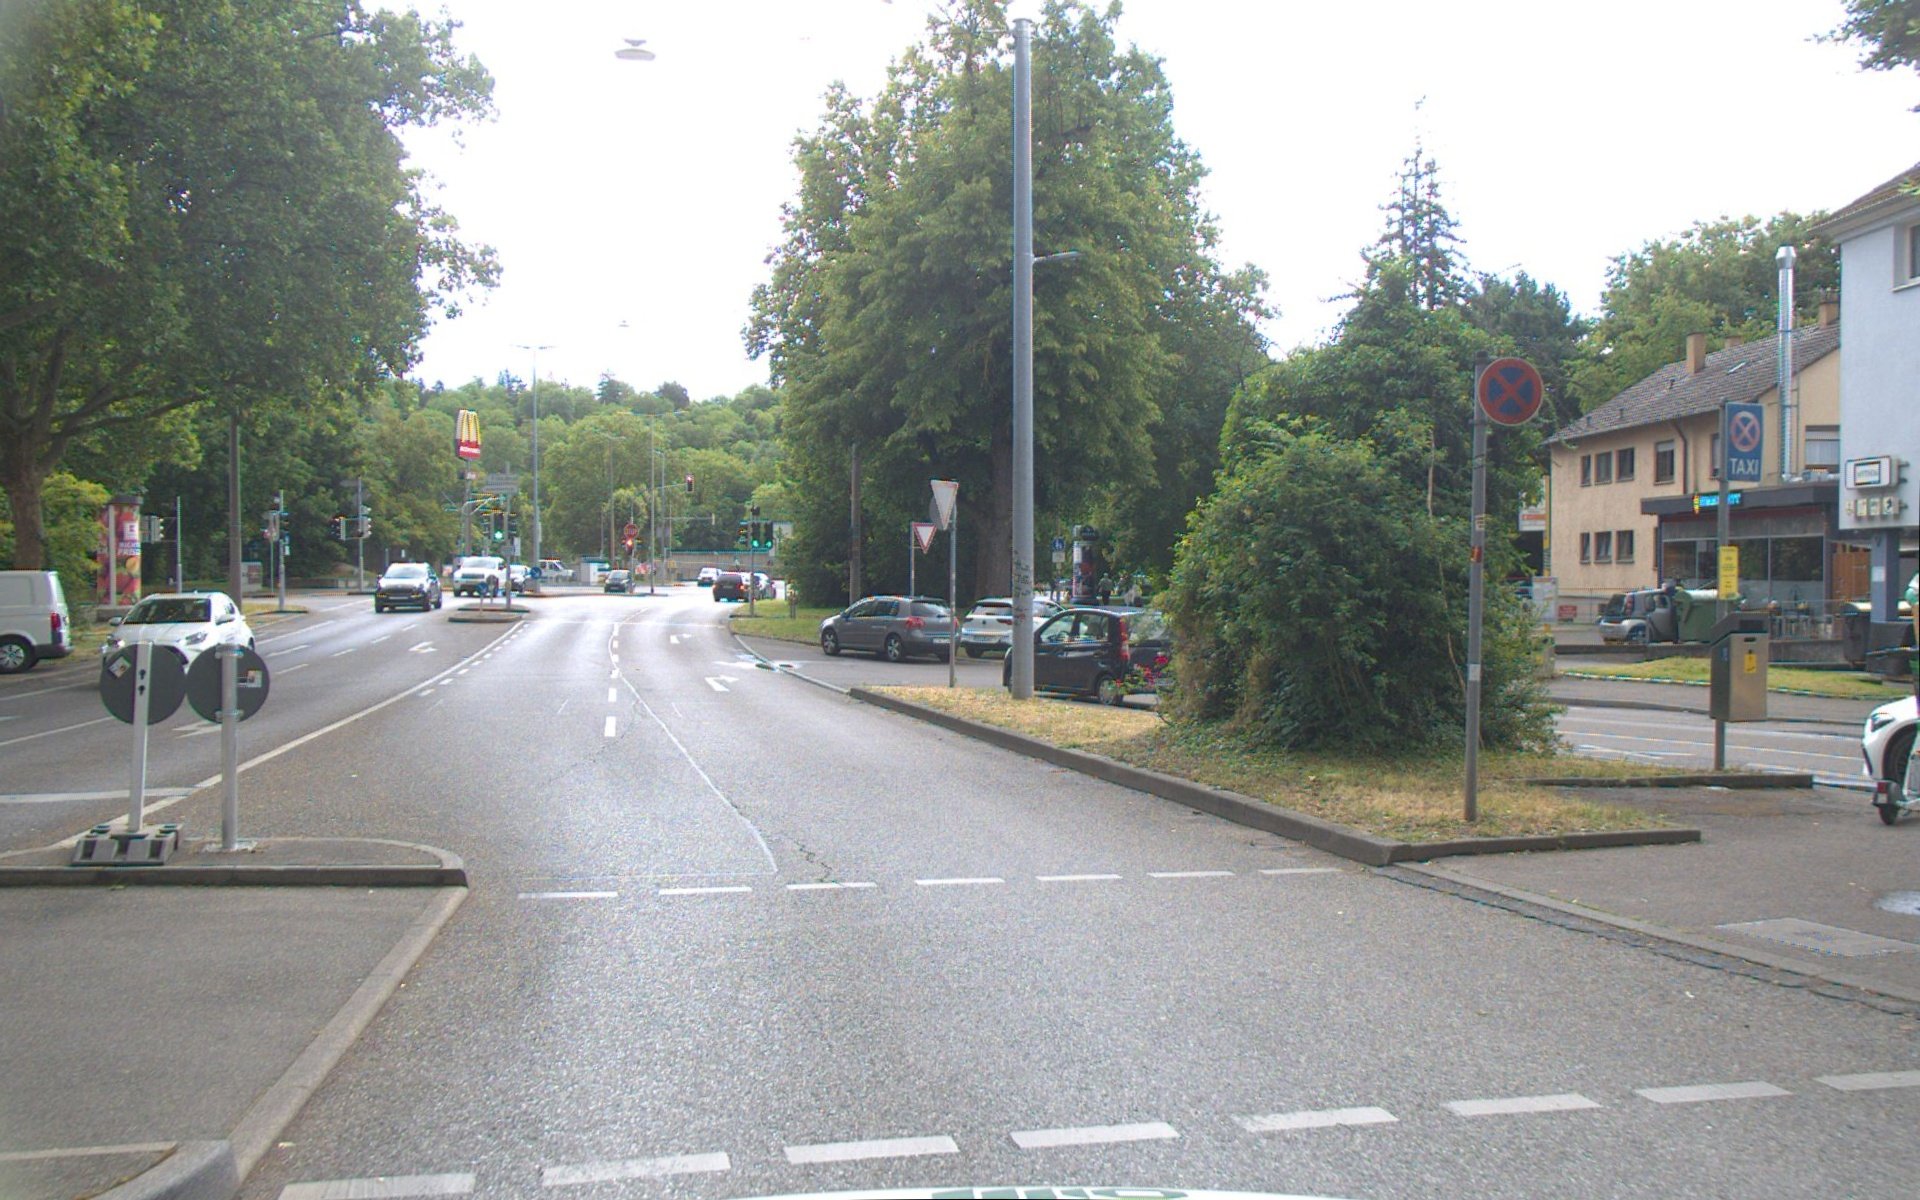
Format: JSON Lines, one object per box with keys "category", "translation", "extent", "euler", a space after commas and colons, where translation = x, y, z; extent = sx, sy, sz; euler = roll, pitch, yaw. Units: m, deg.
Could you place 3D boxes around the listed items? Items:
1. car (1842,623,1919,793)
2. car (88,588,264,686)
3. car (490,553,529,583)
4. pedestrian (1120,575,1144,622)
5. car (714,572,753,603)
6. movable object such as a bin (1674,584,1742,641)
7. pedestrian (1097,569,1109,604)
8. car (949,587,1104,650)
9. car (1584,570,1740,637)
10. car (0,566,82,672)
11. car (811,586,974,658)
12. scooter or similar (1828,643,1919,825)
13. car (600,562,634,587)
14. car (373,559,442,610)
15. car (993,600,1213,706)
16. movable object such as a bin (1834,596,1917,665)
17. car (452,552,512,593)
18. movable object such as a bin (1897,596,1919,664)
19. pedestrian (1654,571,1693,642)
{"category": "car", "translation": [9.867, 0.935, 13.168], "extent": [1.972, 1.411, 4.740], "euler": [-1, 1, -30]}
{"category": "car", "translation": [-13.226, 0.571, 28.143], "extent": [1.731, 1.492, 4.011], "euler": [-1, 1, -11]}
{"category": "car", "translation": [-23.295, -1.694, 85.566], "extent": [1.540, 1.406, 3.942], "euler": [-1, 3, -10]}
{"category": "pedestrian", "translation": [5.848, -0.048, 56.147], "extent": [0.670, 1.578, 0.742], "euler": [0, 1, -7]}
{"category": "car", "translation": [-11.544, -0.636, 84.511], "extent": [1.787, 1.535, 4.569], "euler": [0, 1, -6]}
{"category": "movable object such as a bin", "translation": [18.247, 0.289, 40.366], "extent": [1.193, 1.368, 0.994], "euler": [0, 0, -6]}
{"category": "pedestrian", "translation": [6.421, -0.594, 74.205], "extent": [0.500, 1.558, 0.778], "euler": [0, 1, 3]}
{"category": "car", "translation": [1.690, 0.420, 40.728], "extent": [1.730, 1.404, 4.244], "euler": [1, 2, 37]}
{"category": "car", "translation": [18.009, 0.076, 42.523], "extent": [3.343, 1.659, 1.625], "euler": [0, 0, 0]}
{"category": "car", "translation": [-19.850, 0.427, 31.665], "extent": [5.160, 1.964, 2.068], "euler": [-3, 2, -25]}
{"category": "car", "translation": [-1.646, 0.476, 39.093], "extent": [1.718, 1.453, 4.053], "euler": [-1, 3, -40]}
{"category": "scooter or similar", "translation": [6.548, 0.911, 11.492], "extent": [1.349, 1.187, 0.407], "euler": [2, -1, -39]}
{"category": "car", "translation": [-22.640, -1.695, 109.319], "extent": [1.536, 1.553, 3.190], "euler": [0, 2, 1]}
{"category": "car", "translation": [-19.741, -0.595, 59.283], "extent": [1.765, 1.614, 4.403], "euler": [-3, 3, -12]}
{"category": "car", "translation": [2.159, 0.761, 25.704], "extent": [1.556, 1.428, 3.450], "euler": [-1, 2, -36]}
{"category": "movable object such as a bin", "translation": [19.487, 0.639, 35.234], "extent": [1.188, 1.441, 1.095], "euler": [0, 0, 4]}
{"category": "car", "translation": [-21.939, -1.291, 76.055], "extent": [1.875, 1.794, 4.746], "euler": [0, 2, -7]}
{"category": "movable object such as a bin", "translation": [20.814, 0.628, 35.136], "extent": [1.188, 1.419, 1.162], "euler": [0, 0, 4]}
{"category": "pedestrian", "translation": [17.943, 0.156, 41.603], "extent": [0.674, 1.759, 0.610], "euler": [0, 0, -6]}
